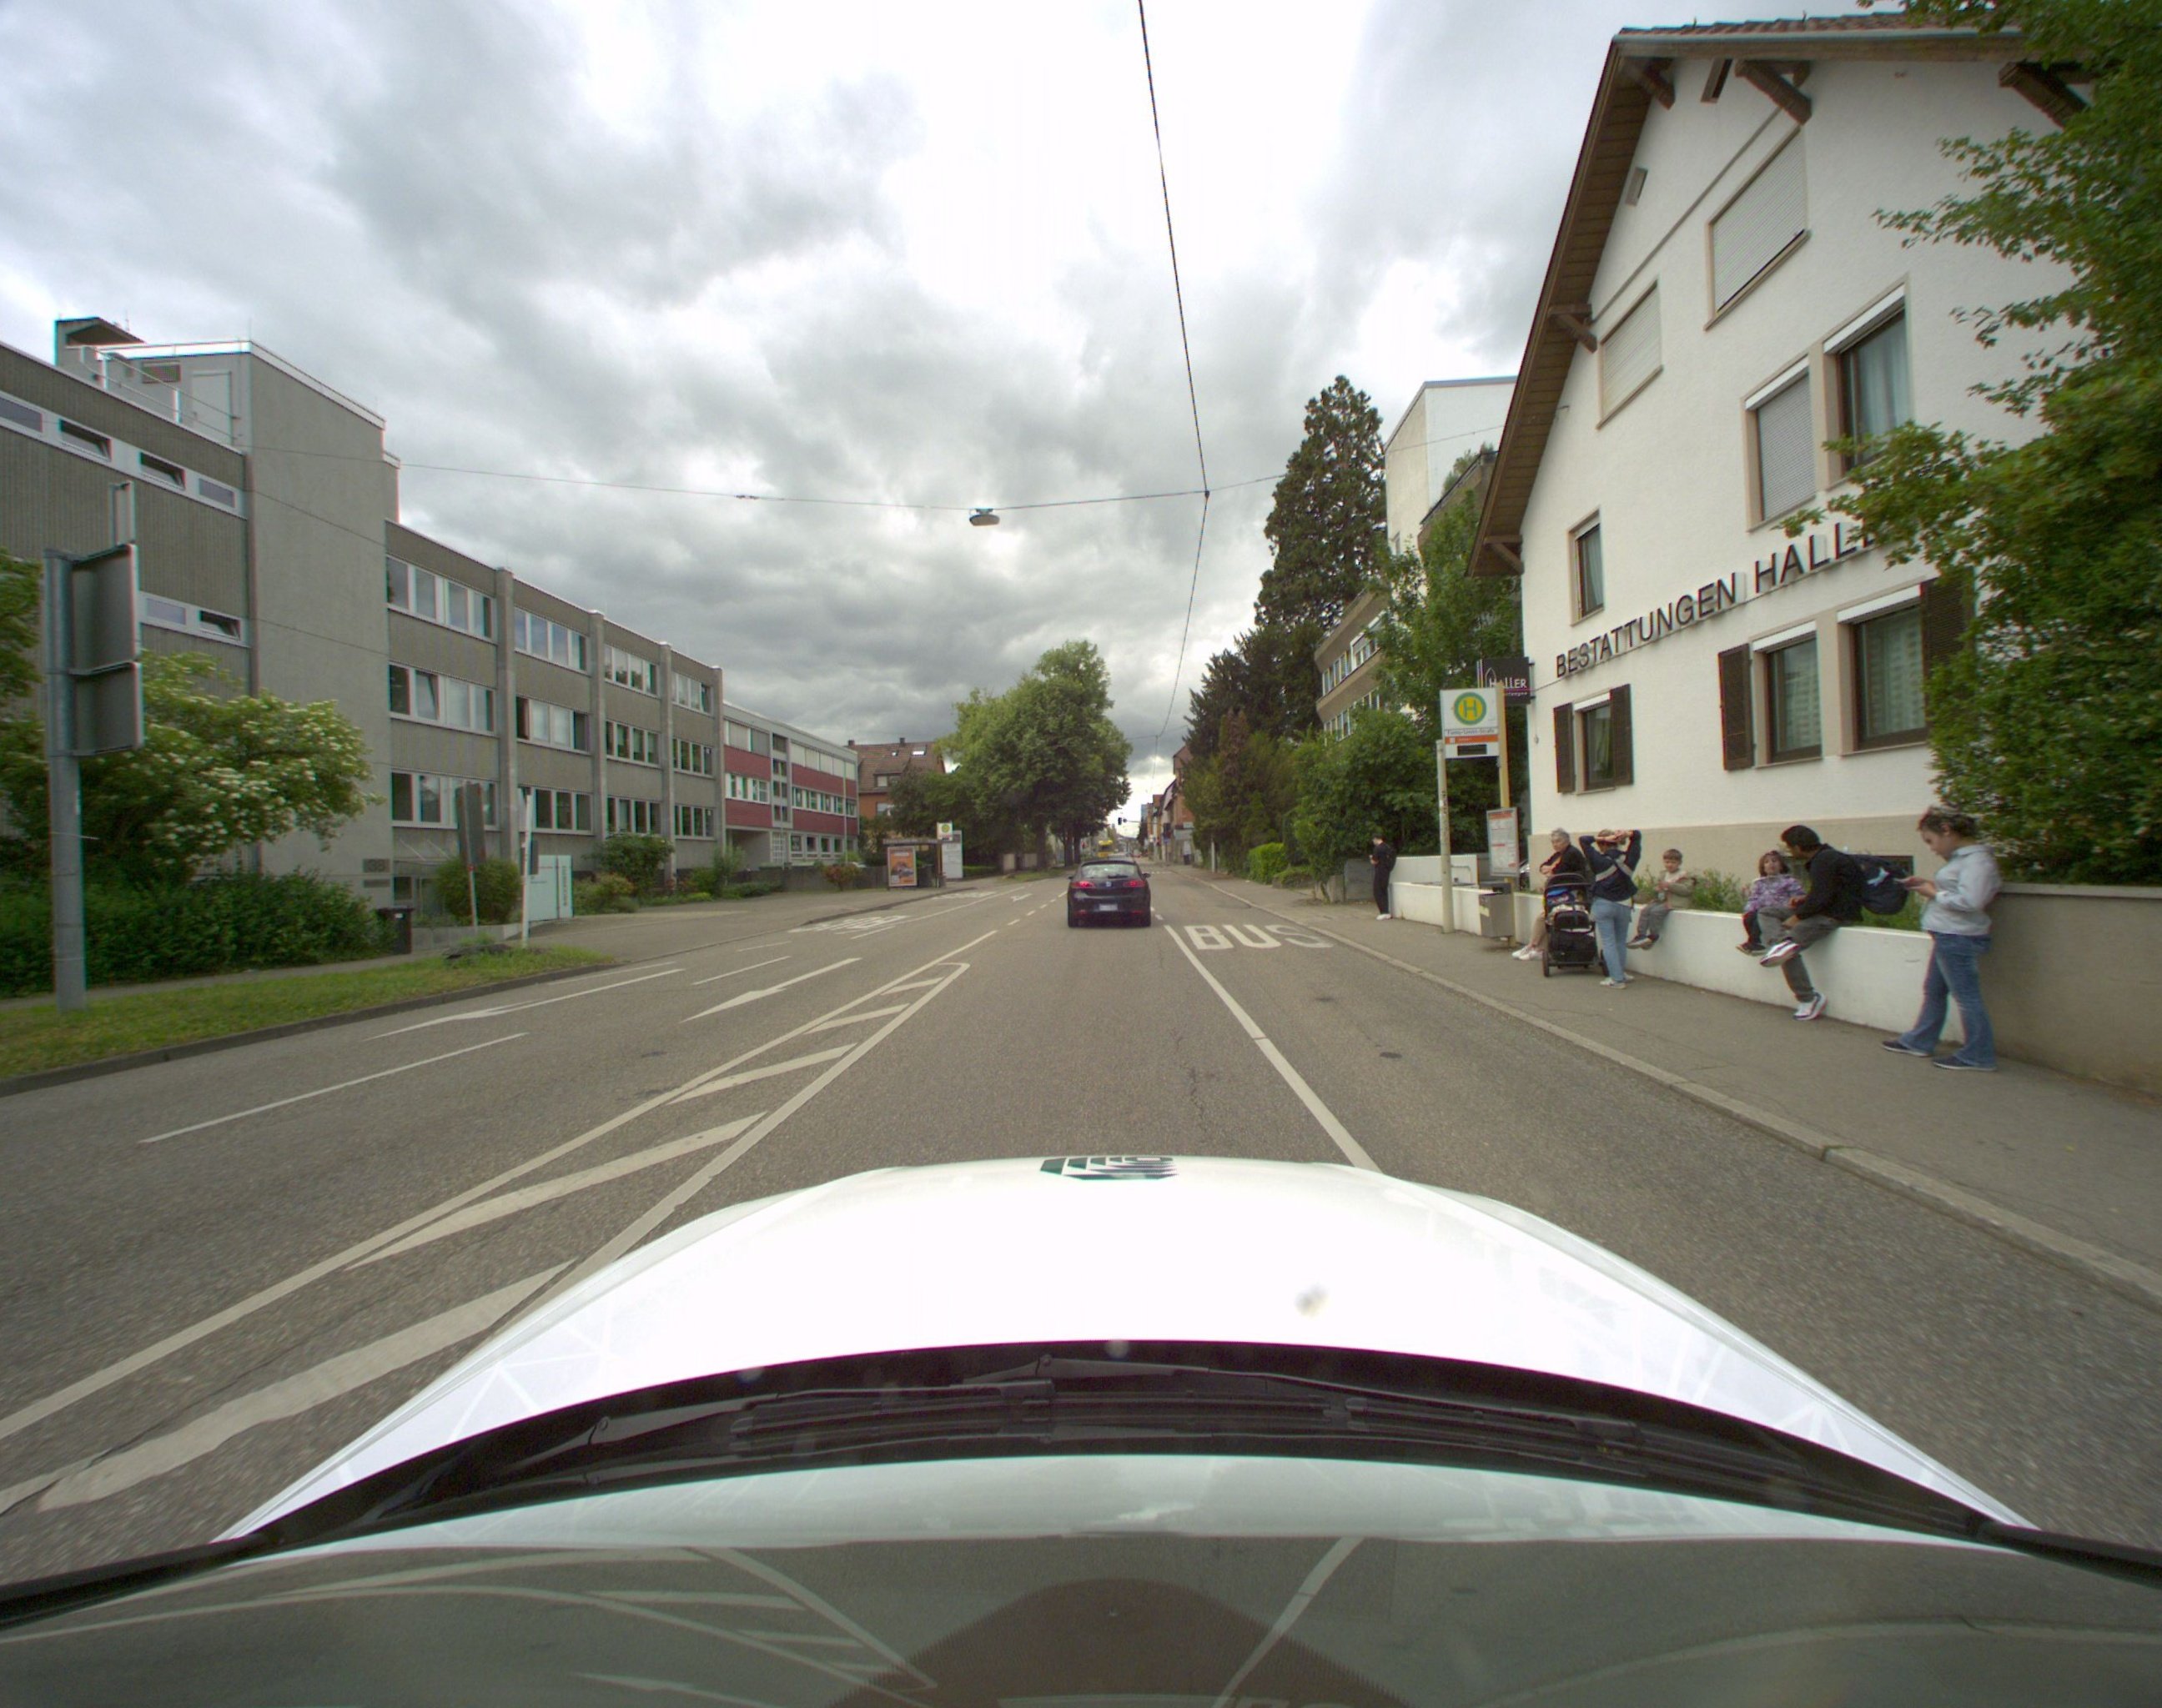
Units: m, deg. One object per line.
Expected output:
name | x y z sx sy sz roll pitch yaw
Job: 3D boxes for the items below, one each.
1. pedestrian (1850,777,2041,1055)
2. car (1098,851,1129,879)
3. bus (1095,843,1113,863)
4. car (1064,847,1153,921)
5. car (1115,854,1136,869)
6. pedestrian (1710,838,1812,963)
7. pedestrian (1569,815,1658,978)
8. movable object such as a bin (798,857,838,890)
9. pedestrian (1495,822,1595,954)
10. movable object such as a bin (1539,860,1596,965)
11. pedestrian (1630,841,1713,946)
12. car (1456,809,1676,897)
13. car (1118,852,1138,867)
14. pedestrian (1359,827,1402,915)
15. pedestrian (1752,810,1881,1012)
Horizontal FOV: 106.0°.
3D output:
pedestrian | 5.222 0.354 4.944 0.543 1.555 0.470 -5 0 -6
car | 2.189 0.707 53.786 1.811 1.699 4.258 -2 0 4
bus | 3.885 -0.174 134.921 2.857 3.136 6.400 -2 0 2
car | 0.534 0.604 17.982 1.754 1.449 3.713 1 0 -1
car | 4.695 0.768 86.548 1.935 1.481 4.253 -2 0 1
pedestrian | 5.594 0.371 6.715 0.453 0.964 0.383 -5 0 -4
pedestrian | 5.147 0.402 7.888 0.546 1.517 0.362 -4 0 11
movable object such as a bin | -16.744 1.255 51.863 1.986 2.013 1.543 -2 0 2
pedestrian | 5.594 0.395 9.842 0.778 1.500 0.604 -3 -1 -3
movable object such as a bin | 5.276 0.627 8.846 0.436 1.058 0.572 -5 0 29
pedestrian | 5.746 0.377 7.939 0.453 0.964 0.383 -5 0 -4
car | 11.215 -0.016 19.029 3.975 1.789 1.887 -2 -1 -1
car | 5.574 0.674 96.442 1.982 1.684 4.009 -2 0 8
pedestrian | 5.975 0.340 16.283 0.583 1.712 0.530 -3 -1 1
pedestrian | 5.551 0.415 6.177 0.613 1.427 0.516 -5 0 41
